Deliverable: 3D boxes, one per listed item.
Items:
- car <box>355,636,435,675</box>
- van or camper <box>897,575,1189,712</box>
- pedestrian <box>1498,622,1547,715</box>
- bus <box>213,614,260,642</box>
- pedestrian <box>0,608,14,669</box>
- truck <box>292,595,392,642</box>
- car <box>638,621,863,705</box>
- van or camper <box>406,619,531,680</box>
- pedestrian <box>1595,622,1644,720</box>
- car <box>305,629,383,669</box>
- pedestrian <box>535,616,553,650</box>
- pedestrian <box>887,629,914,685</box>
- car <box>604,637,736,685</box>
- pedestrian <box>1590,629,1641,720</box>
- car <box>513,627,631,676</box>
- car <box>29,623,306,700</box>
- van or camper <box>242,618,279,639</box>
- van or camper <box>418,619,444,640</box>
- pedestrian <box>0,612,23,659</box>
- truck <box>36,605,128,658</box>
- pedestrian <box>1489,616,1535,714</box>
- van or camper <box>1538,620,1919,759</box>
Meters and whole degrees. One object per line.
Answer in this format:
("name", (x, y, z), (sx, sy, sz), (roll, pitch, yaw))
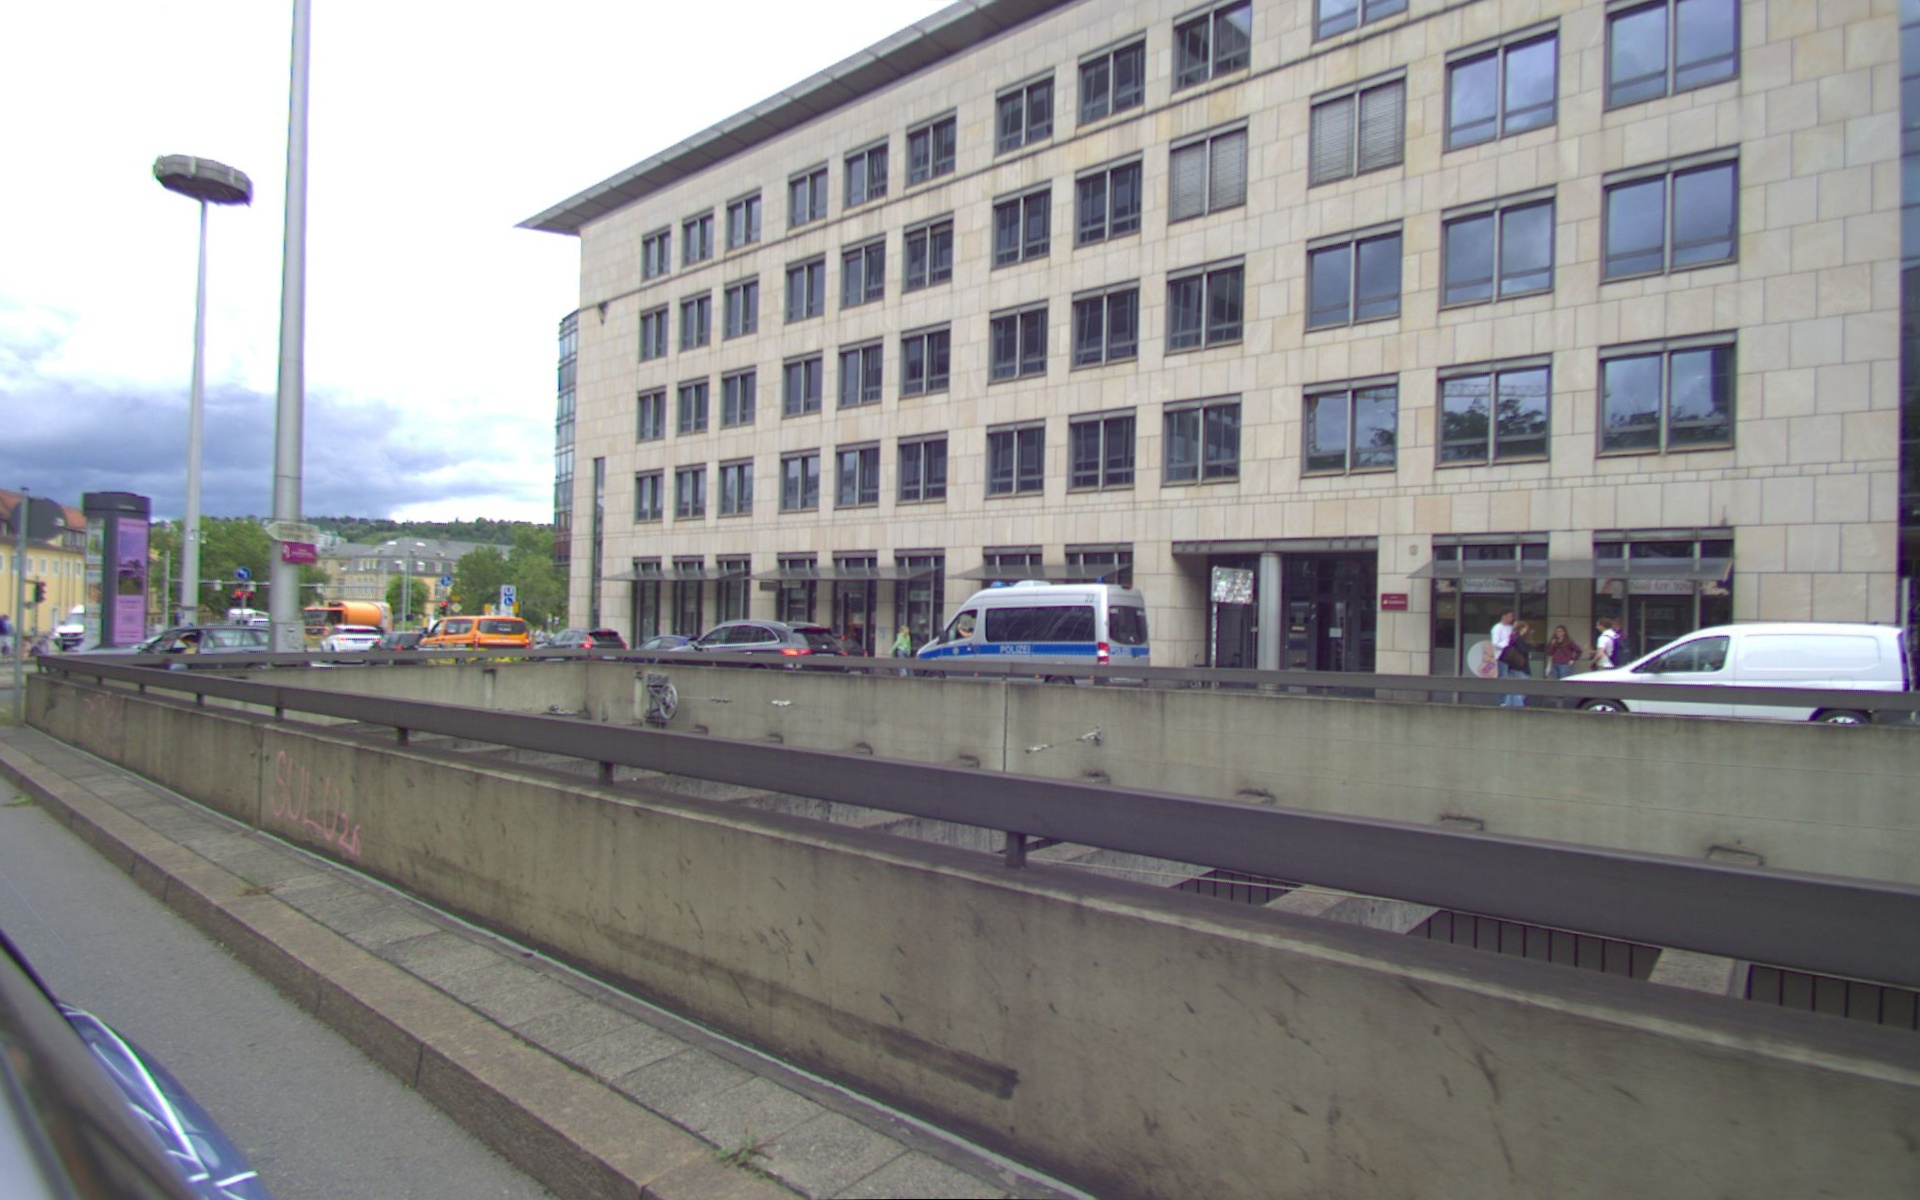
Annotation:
("car", (-21.721, 2.108, 38.858), (3.632, 1.390, 1.540), (-1, -4, 42))
("van or camper", (1.791, 0.970, 23.524), (6.242, 2.747, 2.970), (-1, -2, 41))
("pedestrian", (10.630, 1.274, 19.123), (0.680, 1.730, 0.549), (-1, -2, 41))
("bus", (-89.379, 3.451, 125.248), (3.376, 3.228, 13.102), (1, -2, -30))
("pedestrian", (-34.532, 1.361, 36.094), (0.758, 2.189, 0.872), (0, -2, 23))
("truck", (-51.716, 1.537, 85.076), (2.690, 3.643, 9.177), (3, -1, 0))
("car", (-4.309, 1.205, 20.520), (4.532, 1.538, 1.901), (-1, -2, 35))
("van or camper", (-16.759, 1.659, 34.384), (5.080, 1.936, 1.893), (-1, -4, 41))
("pedestrian", (12.248, 1.304, 18.804), (0.679, 1.767, 0.546), (-2, -2, 40))
("car", (-26.468, 2.089, 43.449), (4.319, 1.611, 1.715), (-1, -3, 43))
("pedestrian", (-21.134, 1.691, 51.432), (0.596, 1.644, 0.788), (7, -12, -38))
("pedestrian", (-1.773, 1.683, 29.980), (0.627, 1.636, 0.494), (-1, -3, 40))
("car", (-9.380, 1.916, 32.541), (4.572, 1.406, 1.972), (-1, -2, 42))
("pedestrian", (11.727, 1.320, 18.100), (0.679, 1.589, 0.546), (-2, -2, 40))
("car", (-14.027, 1.841, 36.481), (4.680, 1.658, 1.973), (-1, -4, 41))
("car", (-16.799, 1.254, 21.648), (4.494, 1.469, 1.884), (2, -2, -41))
("van or camper", (-80.388, 3.262, 116.393), (2.334, 2.280, 6.308), (2, -3, -25))
("van or camper", (-70.736, 3.938, 135.291), (2.111, 2.496, 6.177), (6, -5, -34))
("pedestrian", (-37.170, 1.392, 39.482), (0.634, 1.804, 0.708), (-3, -7, 40))
("truck", (-49.088, 1.799, 56.744), (1.923, 2.805, 5.807), (2, -3, -21))
("pedestrian", (10.883, 1.264, 19.953), (0.679, 1.889, 0.610), (-2, -2, 40))
("van or camper", (11.176, 1.190, 14.798), (4.483, 1.765, 1.849), (-1, -2, 40))
